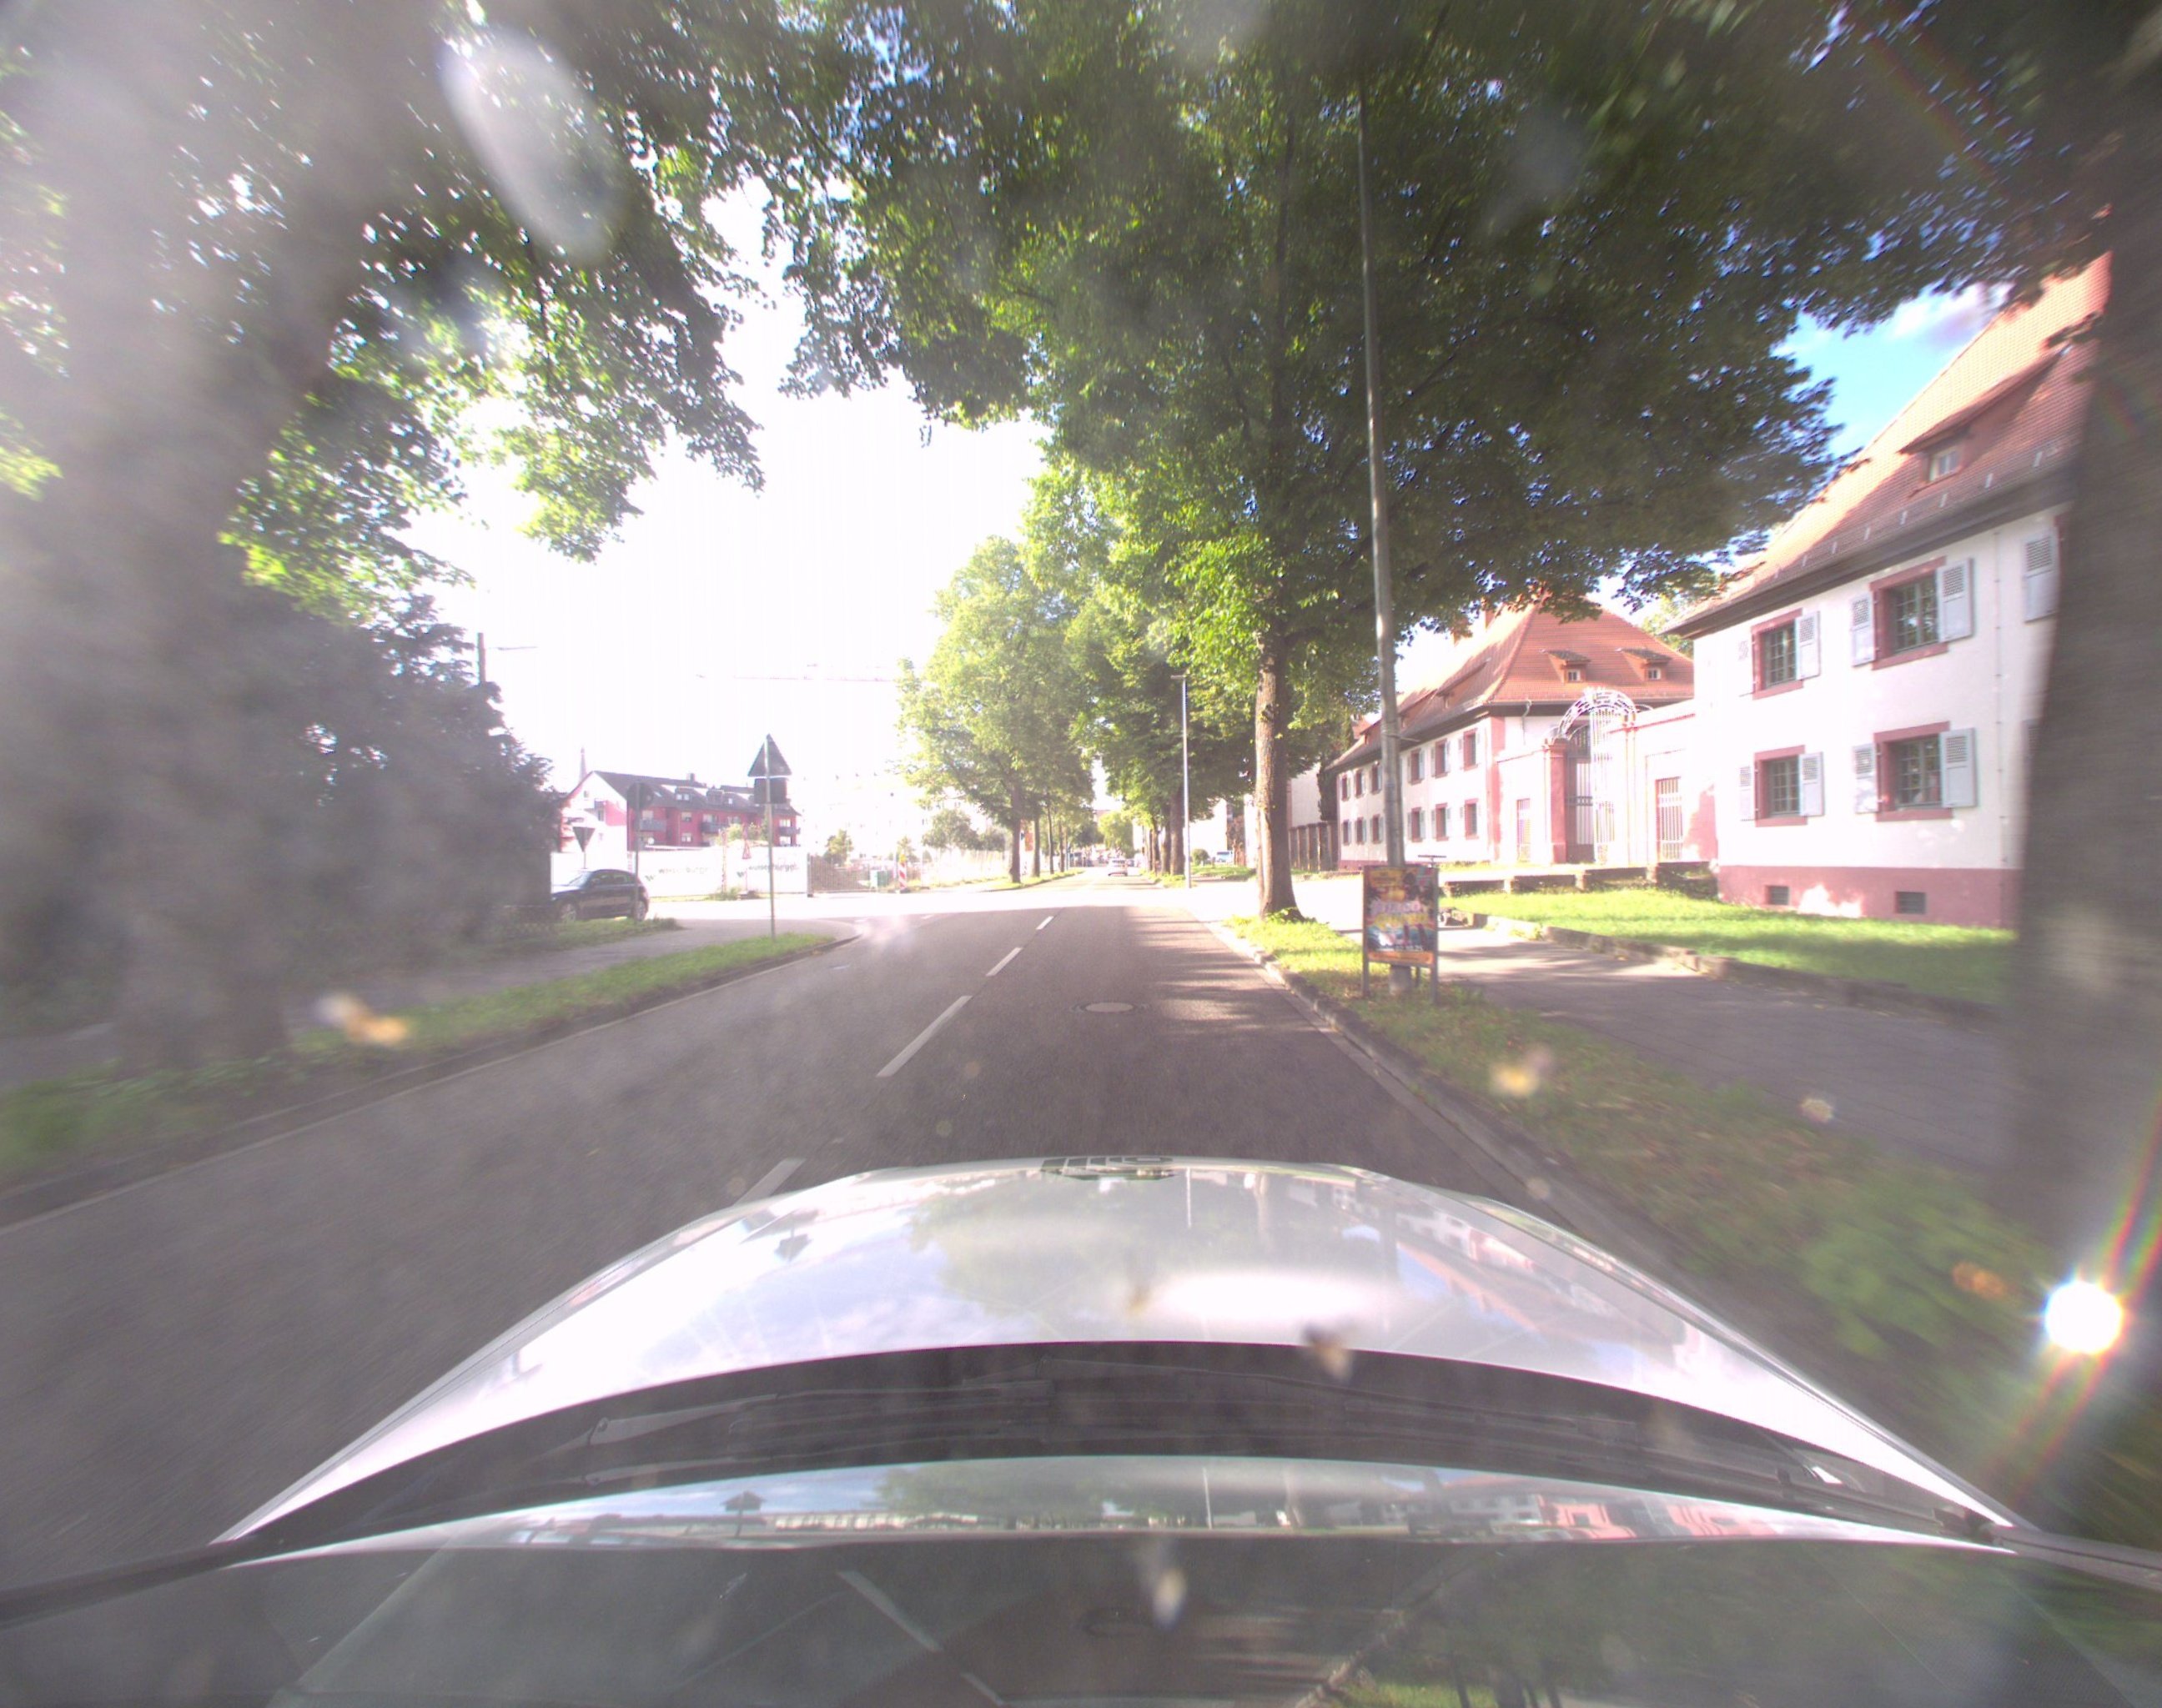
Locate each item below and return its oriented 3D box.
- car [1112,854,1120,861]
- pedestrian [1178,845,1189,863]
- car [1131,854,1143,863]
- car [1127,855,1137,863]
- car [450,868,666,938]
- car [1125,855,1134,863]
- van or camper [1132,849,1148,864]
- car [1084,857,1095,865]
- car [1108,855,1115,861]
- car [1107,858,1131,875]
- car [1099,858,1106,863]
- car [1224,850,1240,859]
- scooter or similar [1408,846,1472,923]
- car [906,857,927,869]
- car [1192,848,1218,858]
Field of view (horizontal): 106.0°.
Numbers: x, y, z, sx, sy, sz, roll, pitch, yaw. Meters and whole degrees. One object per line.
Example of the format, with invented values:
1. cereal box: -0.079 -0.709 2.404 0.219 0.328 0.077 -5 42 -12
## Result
1. car: 9.650 1.005 223.099 1.985 1.755 4.003 0 -1 3
2. pedestrian: 9.281 0.020 73.478 0.811 1.590 0.769 -3 -1 1
3. car: 10.959 0.913 159.414 1.986 1.574 4.002 -2 0 2
4. car: 10.647 1.072 169.979 1.986 1.574 4.002 -2 0 2
5. car: -12.279 1.098 19.558 1.984 1.429 4.513 -2 -1 5
6. car: 10.586 1.125 178.055 1.986 1.530 4.002 -2 0 2
7. van or camper: 10.707 0.391 148.466 2.203 2.607 5.368 -2 0 -1
8. car: 1.724 1.379 165.159 1.990 1.640 3.994 -2 0 -4
9. car: 9.642 1.280 257.044 1.985 1.755 4.003 0 -1 3
10. car: 3.445 1.146 74.345 1.987 1.555 4.272 0 -1 -1
11. car: 6.645 1.996 250.376 1.985 1.755 4.003 0 -1 3
12. car: 25.400 0.079 137.115 1.987 1.442 3.999 -2 0 0
13. scooter or similar: 6.453 0.527 14.705 0.576 1.291 1.383 -3 0 4
14. car: -29.274 1.536 145.226 1.978 2.013 4.018 -2 0 18
15. car: 21.758 -0.128 143.457 4.426 1.621 2.003 -2 0 6
